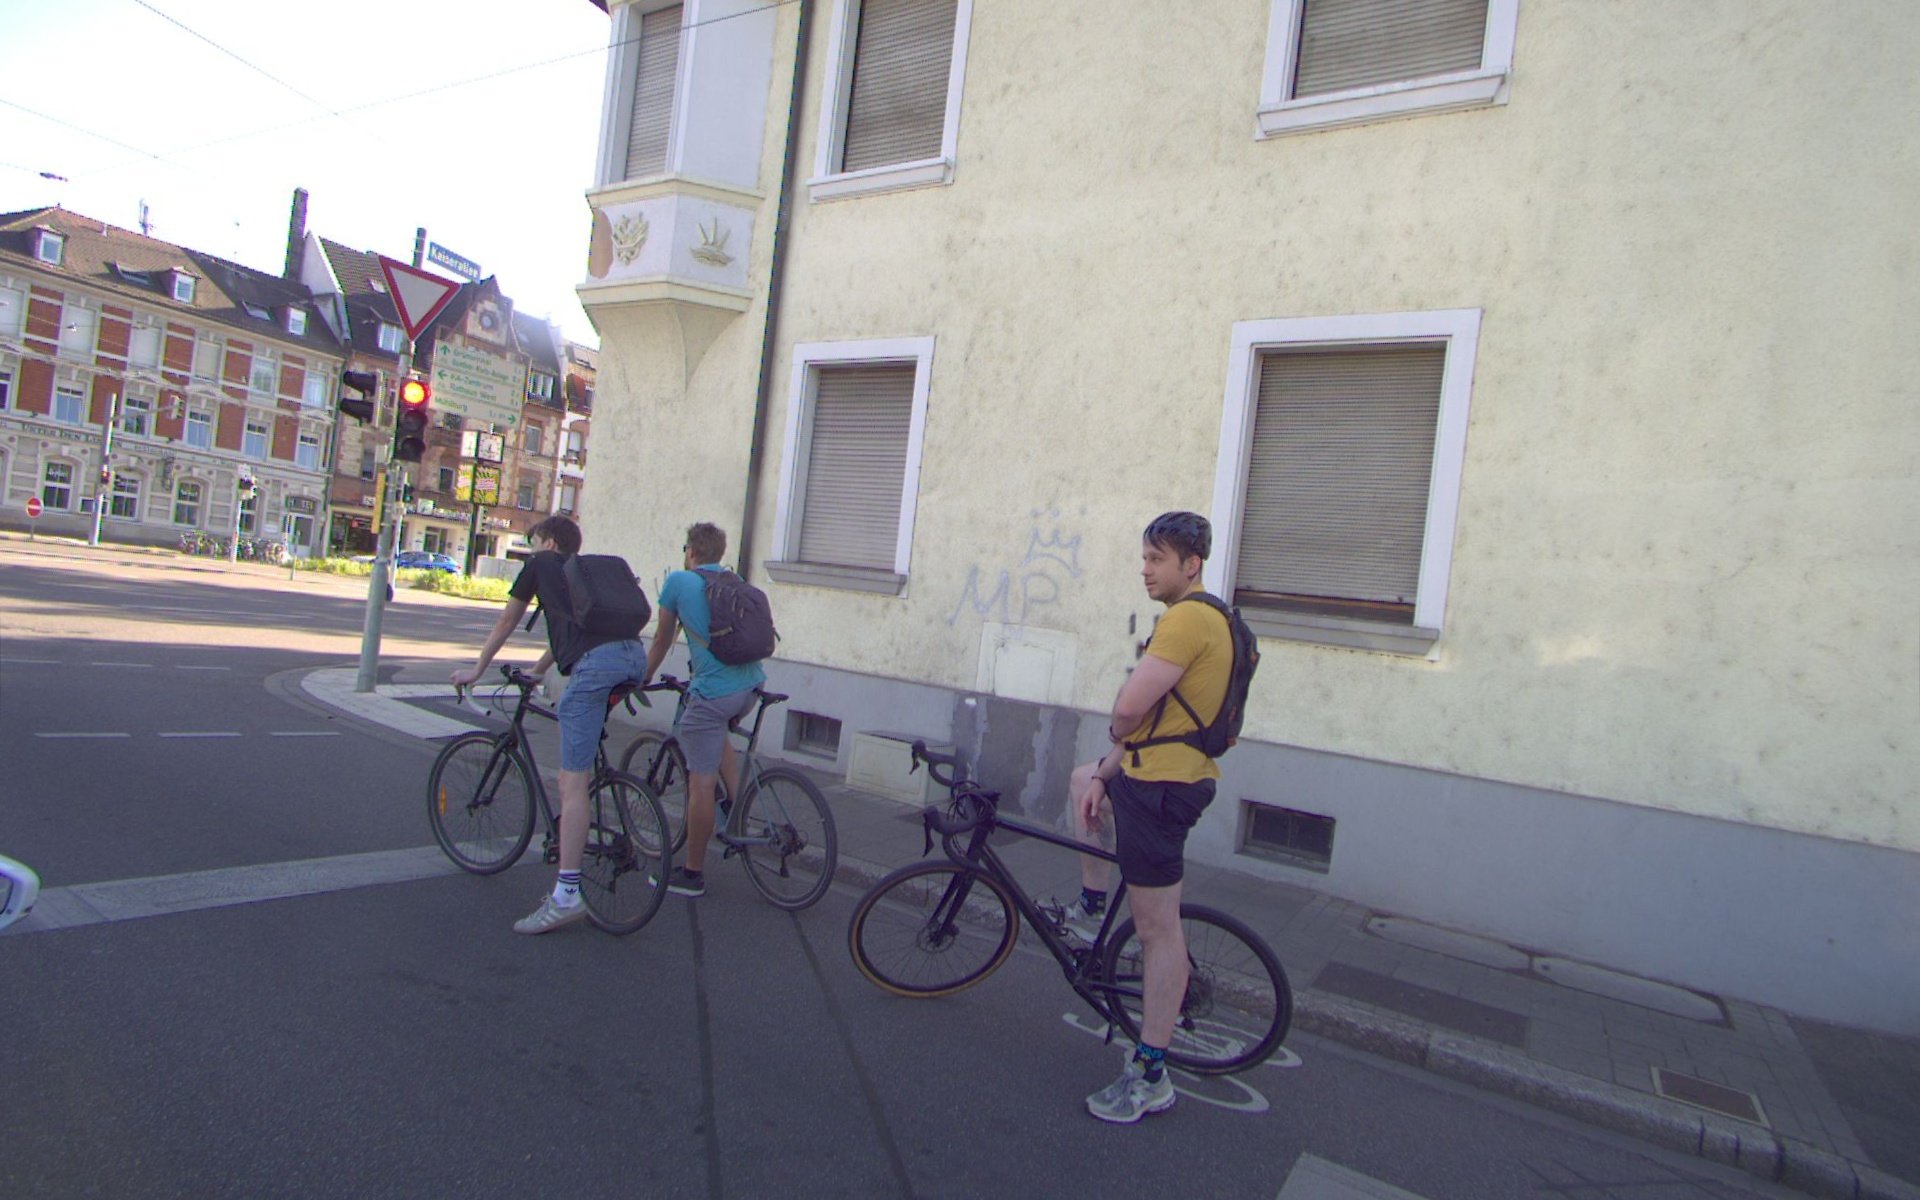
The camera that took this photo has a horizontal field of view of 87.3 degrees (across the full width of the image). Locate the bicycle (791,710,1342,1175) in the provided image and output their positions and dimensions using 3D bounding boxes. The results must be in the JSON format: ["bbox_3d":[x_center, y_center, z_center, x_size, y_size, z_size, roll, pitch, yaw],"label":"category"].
[{"bbox_3d":[0.396,1.105,3.679,1.709,1.119,0.783,7,-1,18],"label":"bicycle"}]

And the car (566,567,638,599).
[{"bbox_3d":[-23.140,-1.089,65.141,1.842,1.454,3.985,6,-2,35],"label":"car"}]

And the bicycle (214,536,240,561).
[{"bbox_3d":[-34.257,-2.415,47.018,0.762,0.995,2.186,8,-2,-39],"label":"bicycle"}]

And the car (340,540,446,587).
[{"bbox_3d":[-27.631,-1.749,49.141,1.775,1.641,3.994,6,-2,33],"label":"car"}]

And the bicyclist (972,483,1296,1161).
[{"bbox_3d":[0.643,0.681,3.519,0.763,1.990,0.783,7,0,18],"label":"bicyclist"}]

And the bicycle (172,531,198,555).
[{"bbox_3d":[-35.356,-2.606,45.871,0.762,0.974,2.186,8,-2,-39],"label":"bicycle"}]

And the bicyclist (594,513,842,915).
[{"bbox_3d":[-1.258,0.540,5.217,0.960,1.868,0.504,6,-1,32],"label":"bicyclist"}]

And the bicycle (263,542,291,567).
[{"bbox_3d":[-33.027,-2.201,48.633,0.789,1.027,2.186,8,-2,-39],"label":"bicycle"}]

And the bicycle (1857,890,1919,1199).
[{"bbox_3d":[3.405,1.493,2.496,1.596,1.088,0.556,7,-1,24],"label":"bicycle"}]

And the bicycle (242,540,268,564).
[{"bbox_3d":[-33.608,-2.304,47.964,0.762,1.019,2.196,8,-2,-39],"label":"bicycle"}]

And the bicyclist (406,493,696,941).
[{"bbox_3d":[-1.848,0.472,4.551,0.920,1.787,0.590,6,-1,32],"label":"bicyclist"}]

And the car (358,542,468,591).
[{"bbox_3d":[-25.433,-1.547,46.884,1.775,1.641,3.994,6,-2,33],"label":"car"}]

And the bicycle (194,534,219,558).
[{"bbox_3d":[-34.754,-2.505,46.395,0.762,0.979,2.186,8,-2,-39],"label":"bicycle"}]

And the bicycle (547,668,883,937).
[{"bbox_3d":[-1.311,0.968,5.216,1.753,0.995,0.504,6,-1,32],"label":"bicycle"}]

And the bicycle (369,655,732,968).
[{"bbox_3d":[-1.896,0.863,4.548,1.753,1.003,0.482,6,-1,32],"label":"bicycle"}]
